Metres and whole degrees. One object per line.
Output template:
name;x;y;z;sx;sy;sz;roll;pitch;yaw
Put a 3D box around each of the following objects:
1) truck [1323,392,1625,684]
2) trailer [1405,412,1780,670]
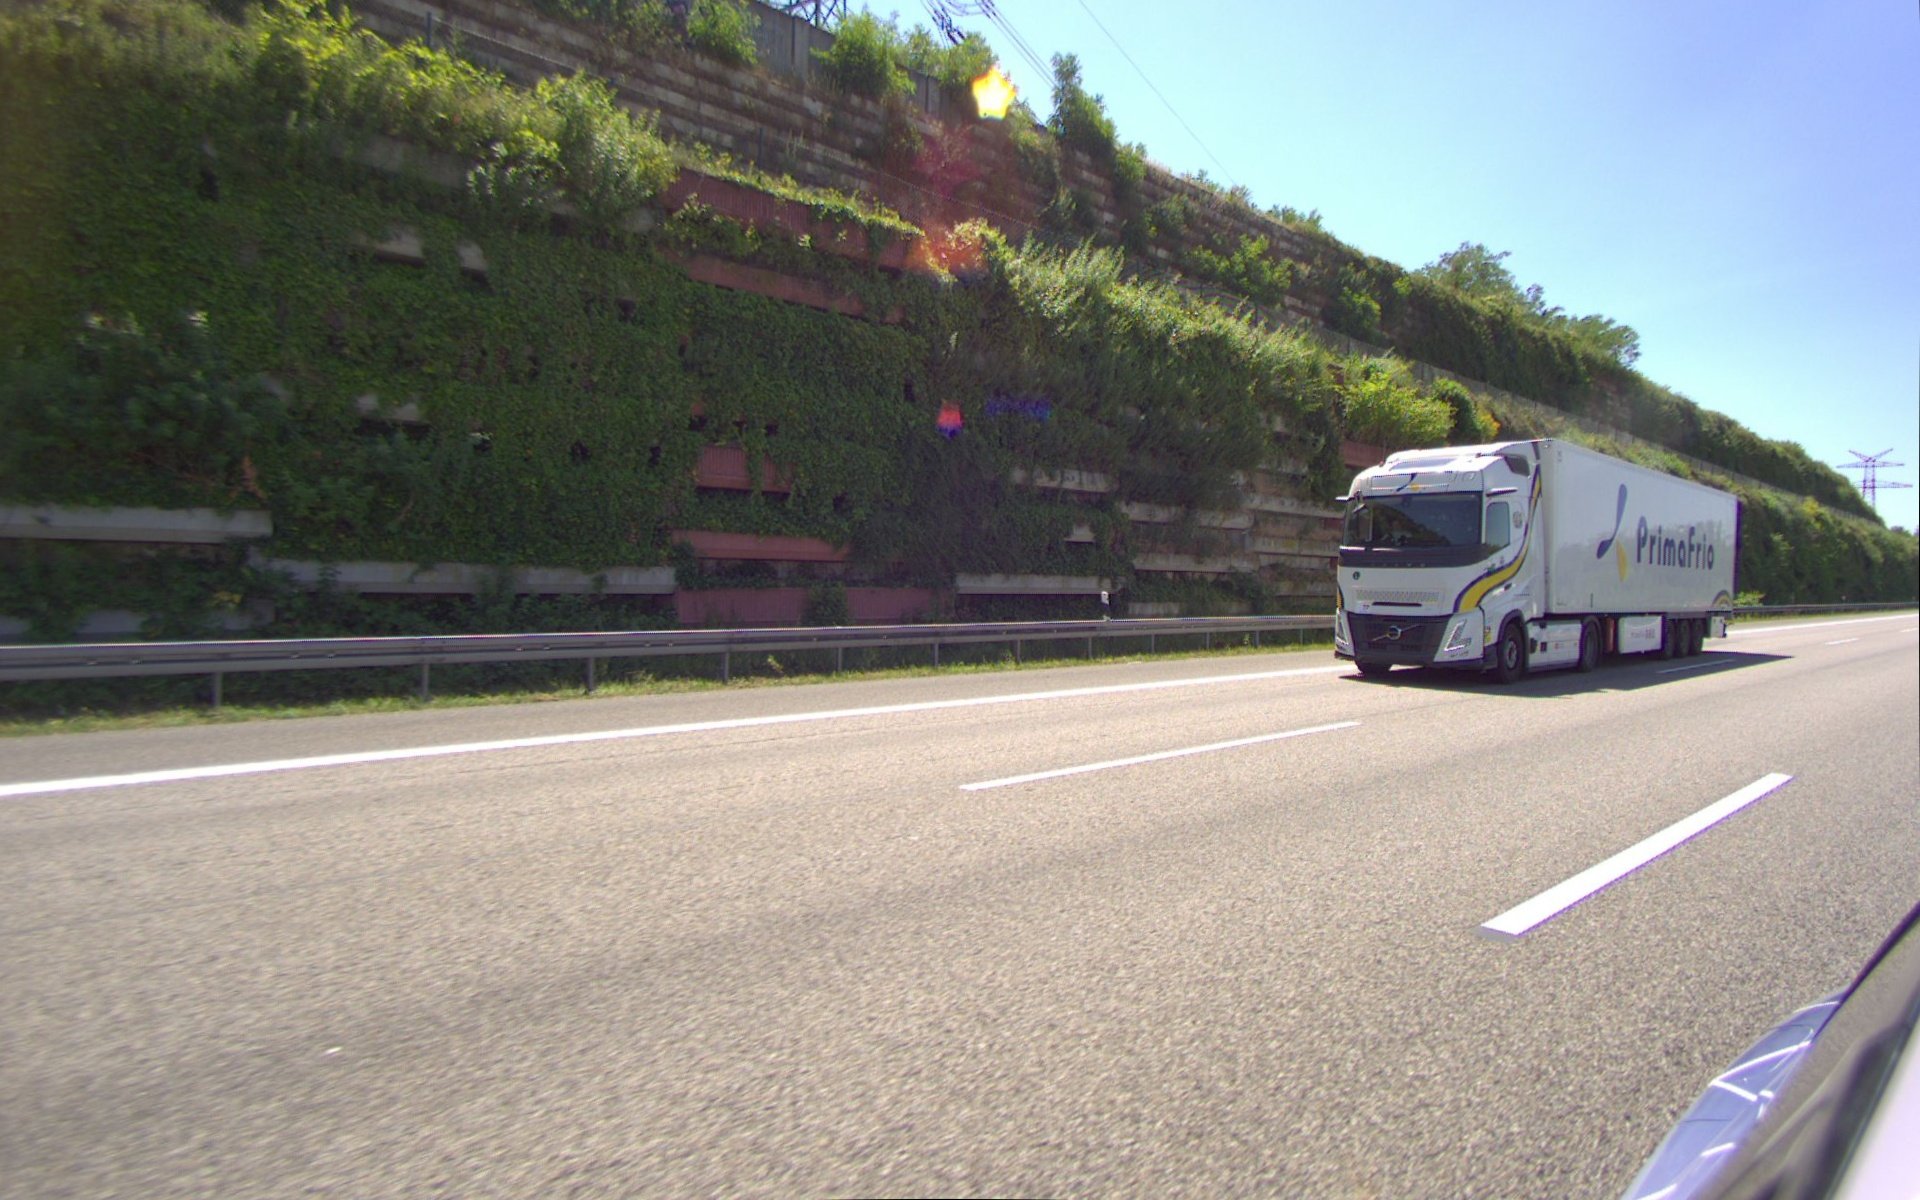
truck;9.187;-0.985;17.793;6.146;4.272;2.513;-1;2;-41
trailer;15.337;-1.049;23.196;16.731;4.264;2.519;0;2;-41
